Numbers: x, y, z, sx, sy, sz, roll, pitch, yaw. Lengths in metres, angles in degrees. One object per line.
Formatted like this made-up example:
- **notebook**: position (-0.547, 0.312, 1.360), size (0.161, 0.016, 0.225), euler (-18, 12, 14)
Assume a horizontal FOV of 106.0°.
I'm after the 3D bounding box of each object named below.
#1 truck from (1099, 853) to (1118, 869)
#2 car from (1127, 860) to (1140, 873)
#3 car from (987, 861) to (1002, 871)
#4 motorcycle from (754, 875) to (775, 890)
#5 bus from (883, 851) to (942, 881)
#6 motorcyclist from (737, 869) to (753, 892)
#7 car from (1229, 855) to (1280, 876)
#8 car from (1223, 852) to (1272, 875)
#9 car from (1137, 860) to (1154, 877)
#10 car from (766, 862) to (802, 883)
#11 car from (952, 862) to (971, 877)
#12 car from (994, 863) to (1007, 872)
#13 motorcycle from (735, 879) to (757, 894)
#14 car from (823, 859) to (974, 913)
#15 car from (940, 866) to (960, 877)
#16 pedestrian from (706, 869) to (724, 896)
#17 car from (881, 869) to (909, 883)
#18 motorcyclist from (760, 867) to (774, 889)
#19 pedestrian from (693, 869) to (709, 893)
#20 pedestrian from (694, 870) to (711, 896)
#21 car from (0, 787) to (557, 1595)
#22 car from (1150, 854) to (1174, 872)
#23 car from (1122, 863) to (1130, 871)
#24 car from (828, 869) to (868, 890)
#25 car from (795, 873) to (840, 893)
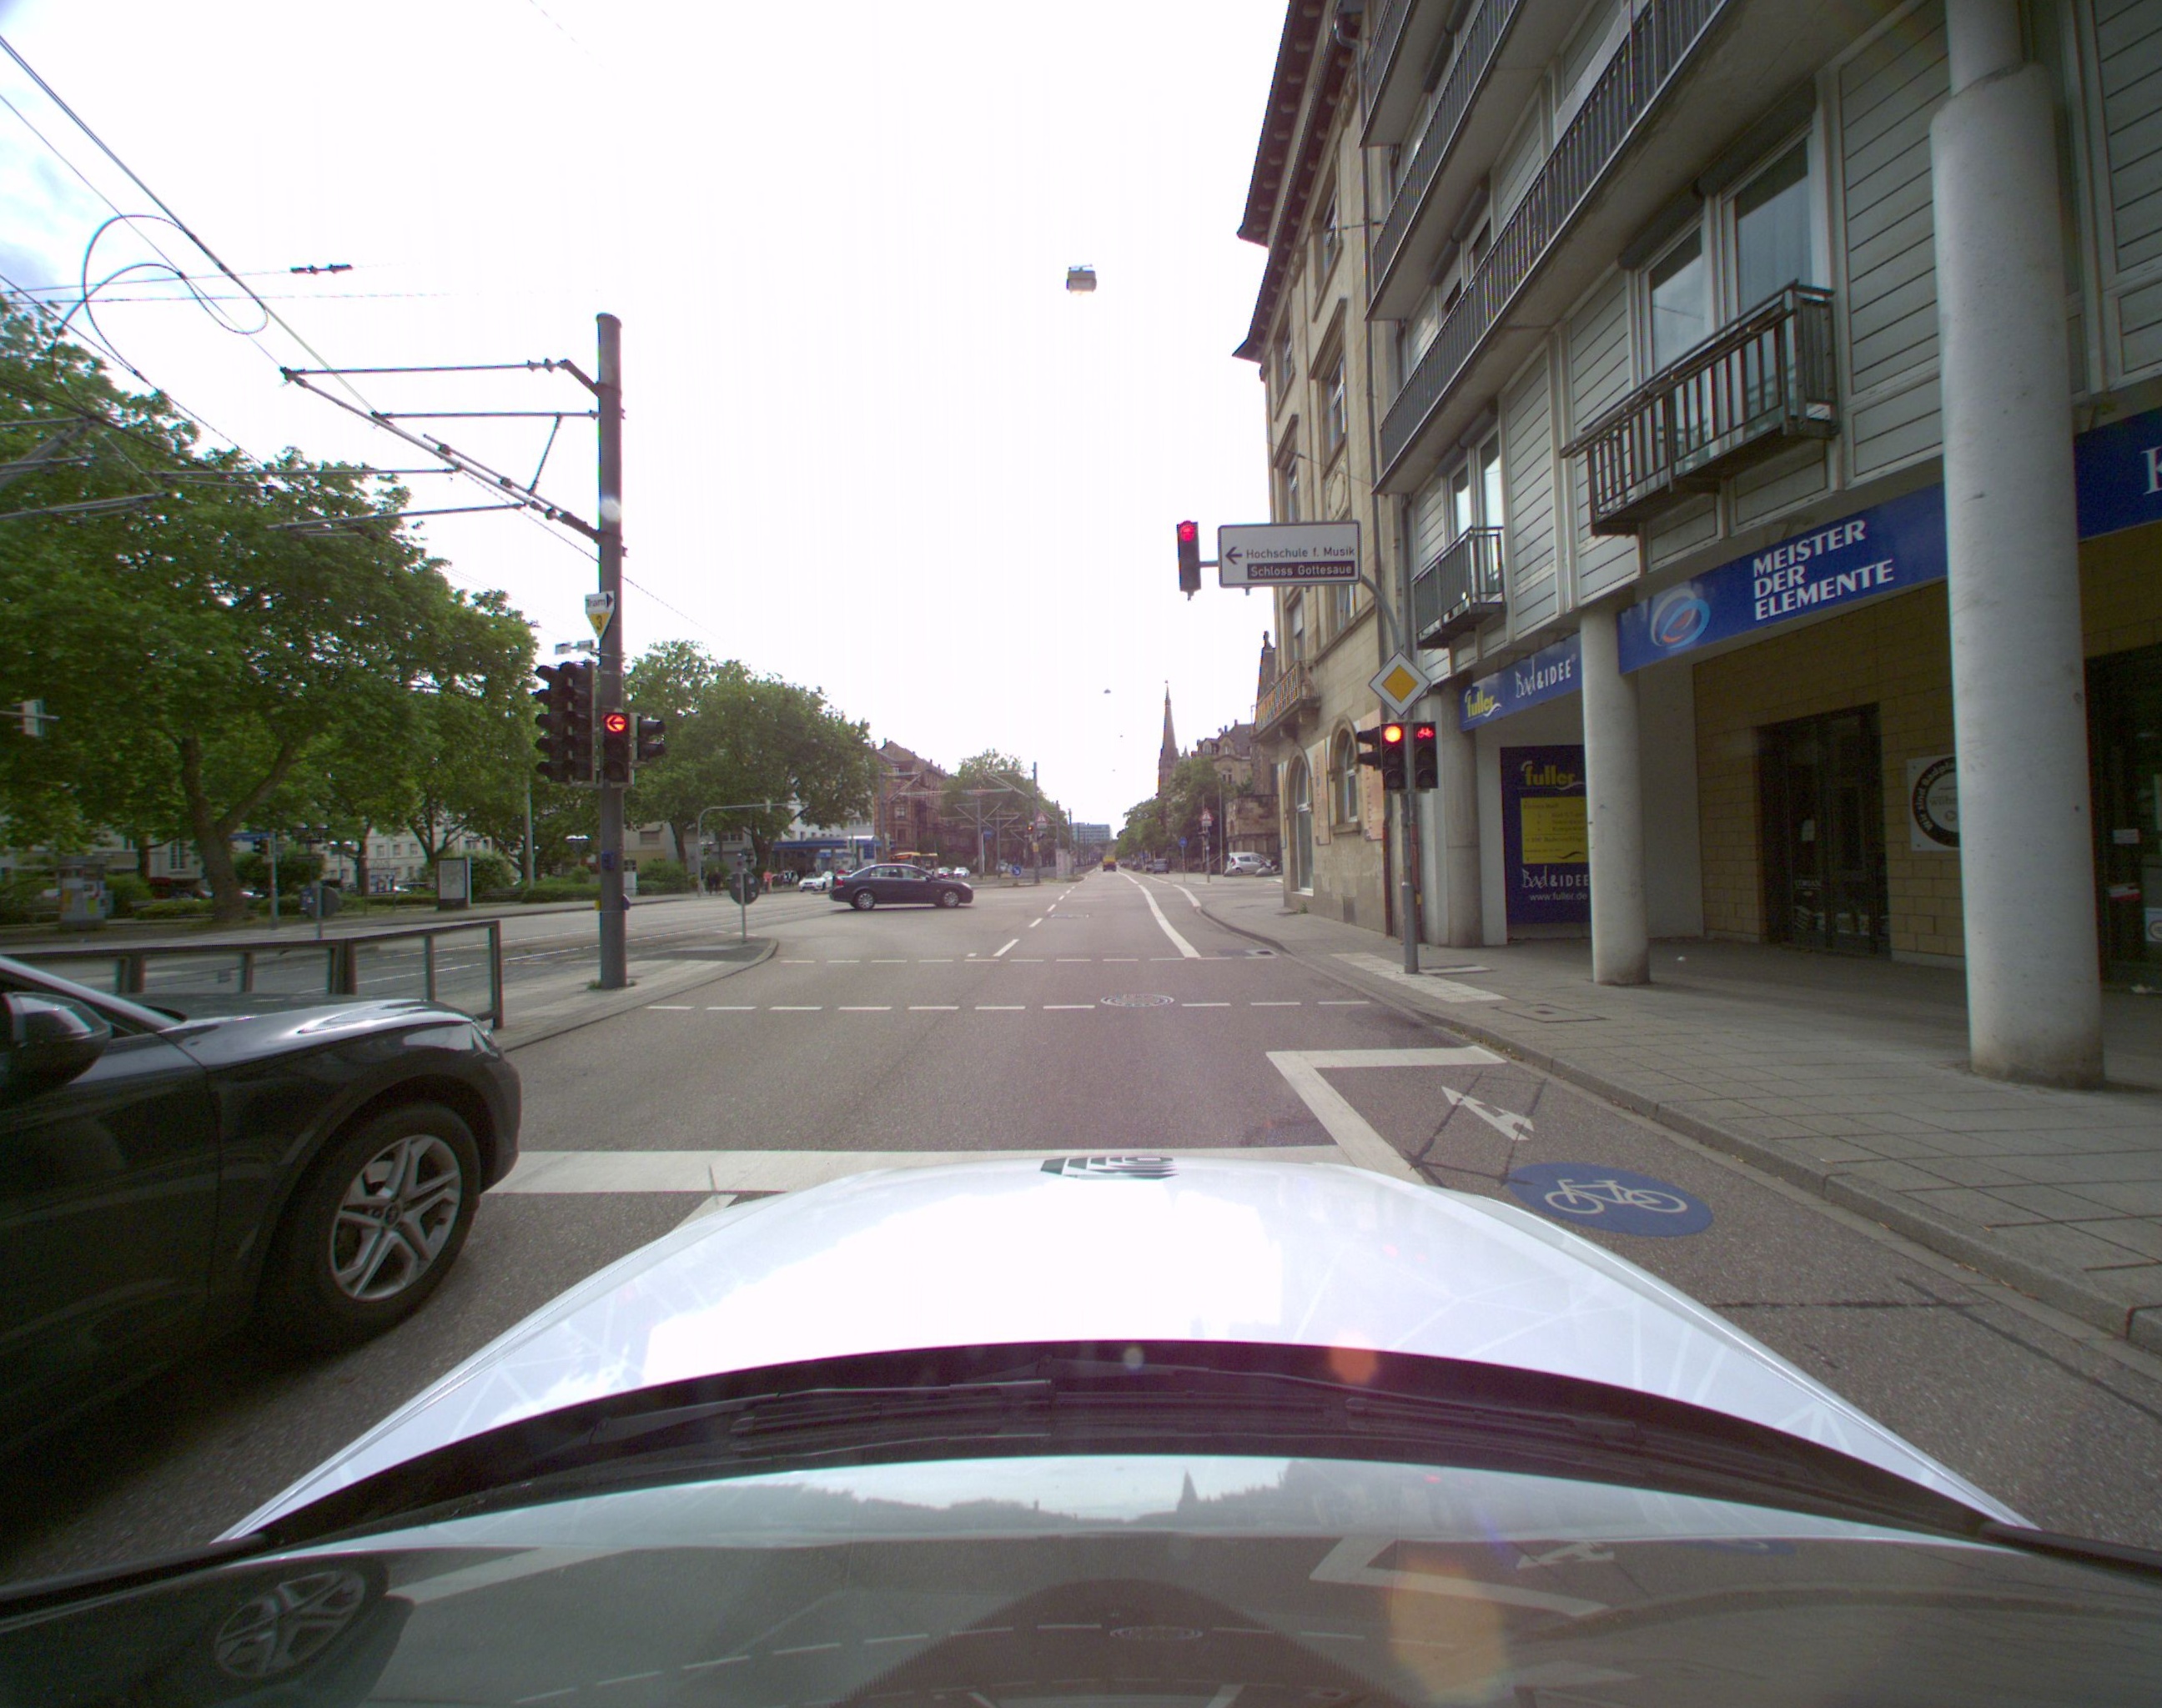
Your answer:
- **truck**: position (4.931, 1.256, 144.590), size (3.043, 2.769, 9.822), euler (-2, 0, 3)
- **car**: position (8.688, 2.063, 135.972), size (1.986, 2.014, 4.001), euler (0, -1, 2)
- **car**: position (-15.053, 2.072, 142.056), size (1.986, 1.610, 4.001), euler (0, -1, 2)
- **motorcycle**: position (-21.645, 1.962, 55.708), size (0.604, 0.928, 1.953), euler (-2, -1, 2)
- **bus**: position (-18.300, 1.305, 89.711), size (3.217, 3.035, 12.323), euler (0, 0, 4)
- **motorcyclist**: position (-22.688, 1.812, 54.984), size (0.617, 1.520, 0.874), euler (-1, -1, 2)
- **car**: position (13.745, 0.911, 64.712), size (3.699, 1.563, 2.001), euler (0, -1, 2)
- **car**: position (13.925, 0.795, 68.231), size (3.699, 1.855, 2.001), euler (0, -1, 2)
- **car**: position (7.888, 1.705, 99.569), size (1.985, 2.014, 4.004), euler (0, -1, 4)
- **car**: position (-29.803, 1.869, 81.848), size (1.986, 2.014, 4.001), euler (0, -1, 2)
- **car**: position (-16.635, 2.097, 113.731), size (1.986, 2.014, 4.001), euler (0, -1, 2)
- **car**: position (-14.793, 2.455, 149.894), size (1.986, 1.610, 4.001), euler (0, -1, 2)
- **motorcycle**: position (-22.673, 2.182, 55.152), size (0.604, 0.928, 1.953), euler (-2, -1, 2)
- **car**: position (-5.935, 0.976, 26.453), size (4.541, 1.563, 1.985), euler (-1, 0, -23)
- **car**: position (-16.515, 2.197, 102.764), size (1.649, 1.321, 3.641), euler (0, -1, 3)
- **pedestrian**: position (-24.252, 1.870, 53.965), size (0.880, 1.713, 0.864), euler (-1, -1, -40)
- **car**: position (-18.159, 2.106, 79.634), size (1.649, 1.321, 3.641), euler (0, -1, 3)
- **motorcyclist**: position (-21.605, 1.657, 56.043), size (0.617, 1.520, 0.874), euler (-1, -1, 2)
- **pedestrian**: position (-26.481, 1.885, 56.738), size (0.680, 1.690, 0.743), euler (0, -1, 6)
- **pedestrian**: position (-24.825, 1.888, 53.386), size (0.858, 1.713, 0.695), euler (-2, -1, 40)
- **car**: position (-3.071, 0.685, 1.223), size (1.727, 1.637, 4.228), euler (0, -1, 2)
- **car**: position (8.972, 0.995, 89.945), size (1.979, 1.855, 4.042), euler (-1, -1, 14)
- **car**: position (11.913, 3.387, 216.780), size (1.986, 2.014, 4.001), euler (0, -1, 2)
- **car**: position (-18.845, 2.061, 66.070), size (1.986, 1.594, 4.001), euler (0, -1, 2)
- **car**: position (-19.246, 2.082, 59.554), size (1.739, 1.321, 4.079), euler (0, -1, 3)
